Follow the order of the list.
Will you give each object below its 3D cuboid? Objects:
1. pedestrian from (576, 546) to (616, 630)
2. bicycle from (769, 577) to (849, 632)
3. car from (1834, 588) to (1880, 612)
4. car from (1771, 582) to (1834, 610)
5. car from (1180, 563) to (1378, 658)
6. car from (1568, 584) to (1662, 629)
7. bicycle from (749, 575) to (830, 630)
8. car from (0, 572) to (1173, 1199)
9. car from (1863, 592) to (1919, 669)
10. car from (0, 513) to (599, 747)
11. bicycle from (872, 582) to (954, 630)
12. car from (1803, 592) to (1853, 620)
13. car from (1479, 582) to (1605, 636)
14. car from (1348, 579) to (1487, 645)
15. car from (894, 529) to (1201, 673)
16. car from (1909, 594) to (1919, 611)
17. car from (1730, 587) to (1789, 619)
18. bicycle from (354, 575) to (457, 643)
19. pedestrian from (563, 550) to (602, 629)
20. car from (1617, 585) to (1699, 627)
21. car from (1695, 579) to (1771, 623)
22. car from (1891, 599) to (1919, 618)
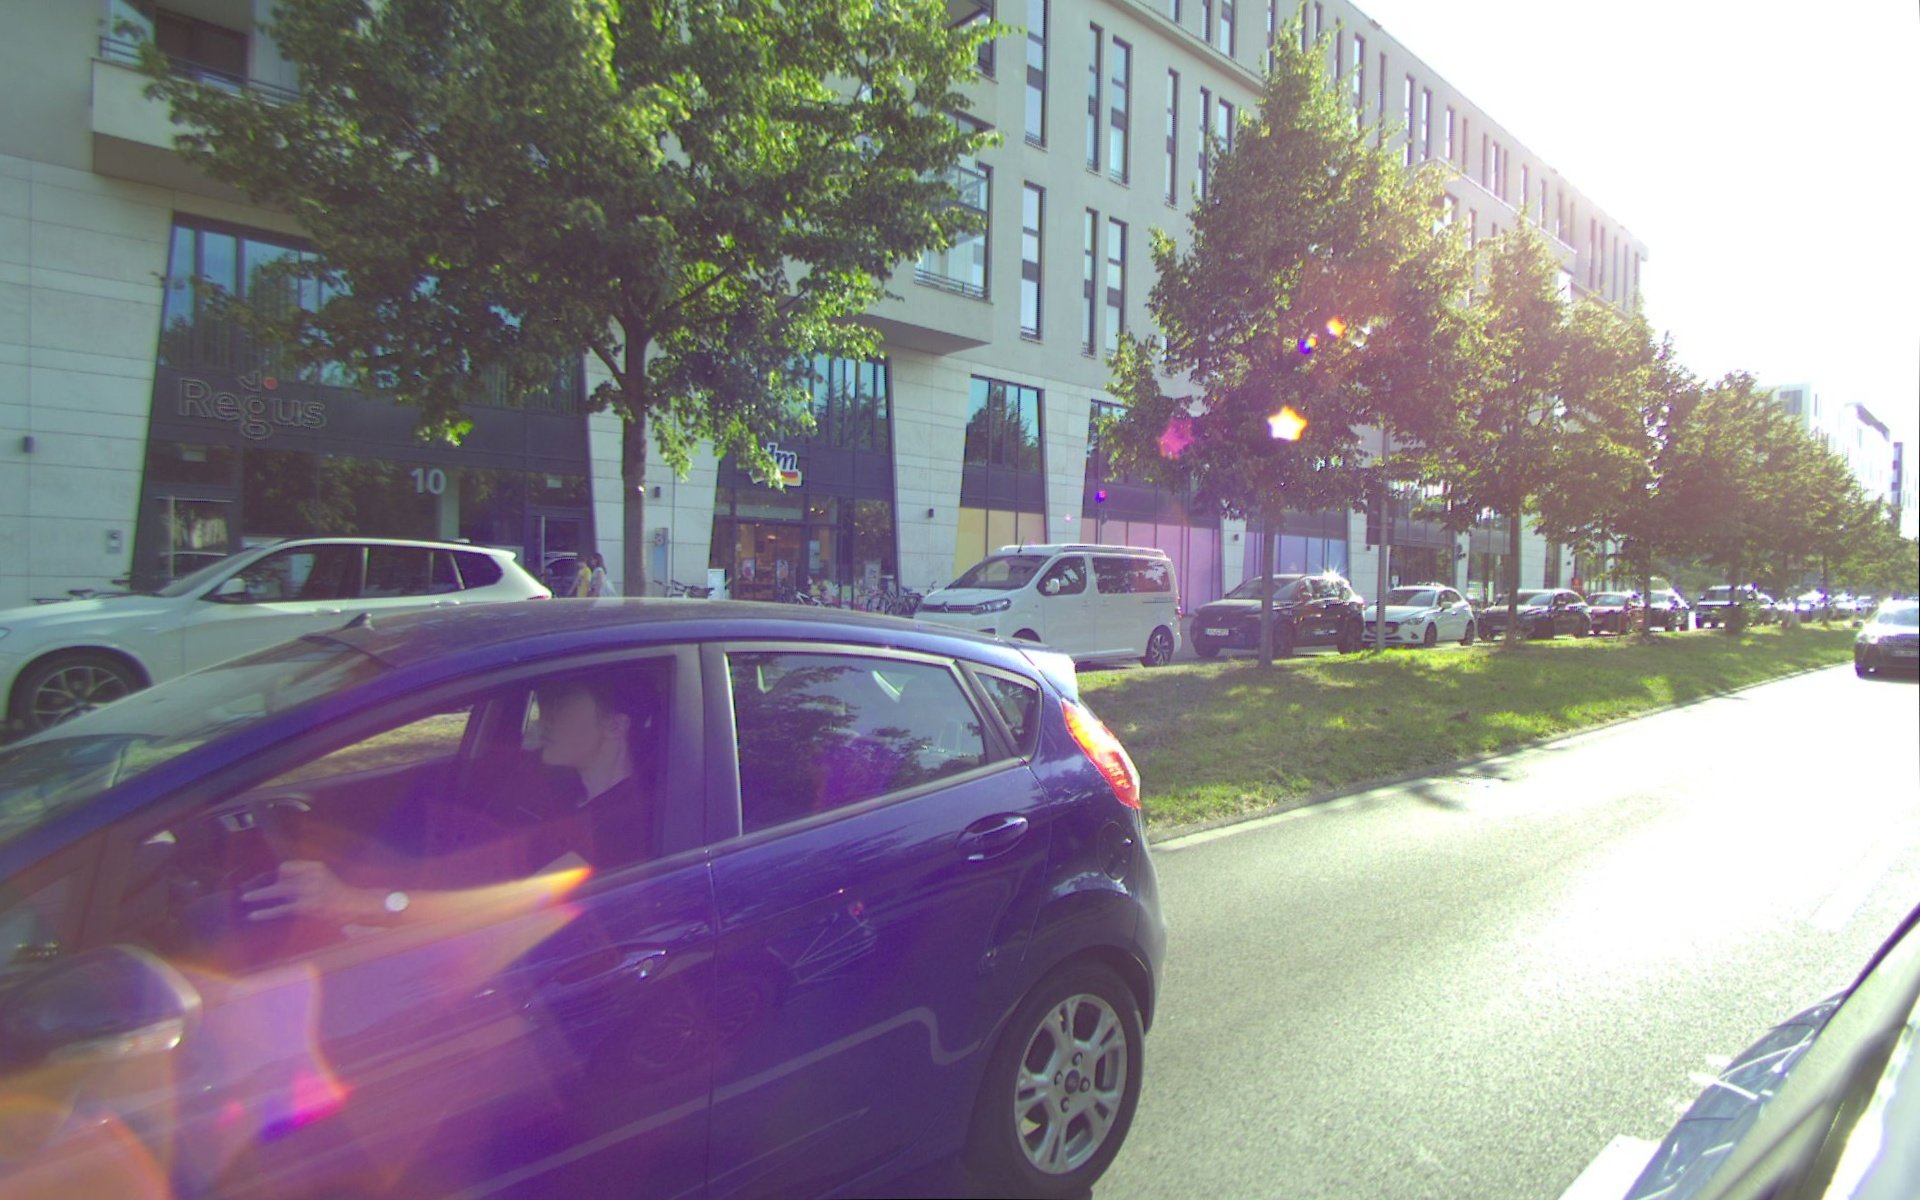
[{"bbox_3d":[-7.055,-0.236,19.623,0.511,1.594,0.534,0,0,29],"label":"pedestrian"},{"bbox_3d":[-3.128,0.080,21.045,1.702,1.094,0.345,-1,5,-41],"label":"bicycle"},{"bbox_3d":[60.282,-0.006,67.977,4.254,1.549,1.838,-1,0,-42],"label":"car"},{"bbox_3d":[47.566,-0.224,57.120,4.830,1.507,1.764,-1,0,-38],"label":"car"},{"bbox_3d":[6.355,0.163,19.918,4.263,1.671,1.731,-1,0,-41],"label":"car"},{"bbox_3d":[22.300,0.196,34.415,4.044,1.450,1.730,-1,0,-42],"label":"car"},{"bbox_3d":[-3.578,0.036,21.302,1.712,1.093,0.345,-1,5,-41],"label":"bicycle"},{"bbox_3d":[-1.389,0.686,1.939,3.840,1.442,1.562,-1,0,-42],"label":"car"},{"bbox_3d":[19.898,0.572,20.710,3.970,1.442,1.697,-1,0,-42],"label":"car"},{"bbox_3d":[-5.941,0.173,9.129,4.770,1.650,1.732,0,2,-44],"label":"car"},{"bbox_3d":[-1.050,0.123,23.017,2.008,1.012,0.419,-1,5,-41],"label":"bicycle"},{"bbox_3d":[52.449,0.356,61.118,4.254,1.618,1.762,-1,0,-42],"label":"car"},{"bbox_3d":[17.089,0.221,29.606,4.638,1.450,1.731,-1,0,-40],"label":"car"},{"bbox_3d":[10.899,0.234,23.986,4.099,1.430,1.617,-1,0,-44],"label":"car"},{"bbox_3d":[1.494,-0.014,15.685,4.944,1.900,1.840,-1,0,-41],"label":"car"},{"bbox_3d":[94.049,0.228,98.668,4.254,1.549,1.838,-1,0,-42],"label":"car"},{"bbox_3d":[39.705,0.132,50.245,4.141,1.507,1.761,-1,0,-44],"label":"car"},{"bbox_3d":[-8.953,0.144,16.364,1.485,1.088,0.348,0,0,1],"label":"bicycle"},{"bbox_3d":[-7.523,-0.212,20.166,0.587,1.541,0.514,0,0,-42],"label":"pedestrian"},{"bbox_3d":[26.571,0.206,38.472,1.867,1.510,4.345,0,0,44],"label":"car"},{"bbox_3d":[35.166,0.003,45.999,4.761,1.898,1.897,-1,0,-42],"label":"car"},{"bbox_3d":[81.227,0.673,86.655,4.254,1.549,1.838,-1,0,-42],"label":"car"}]
